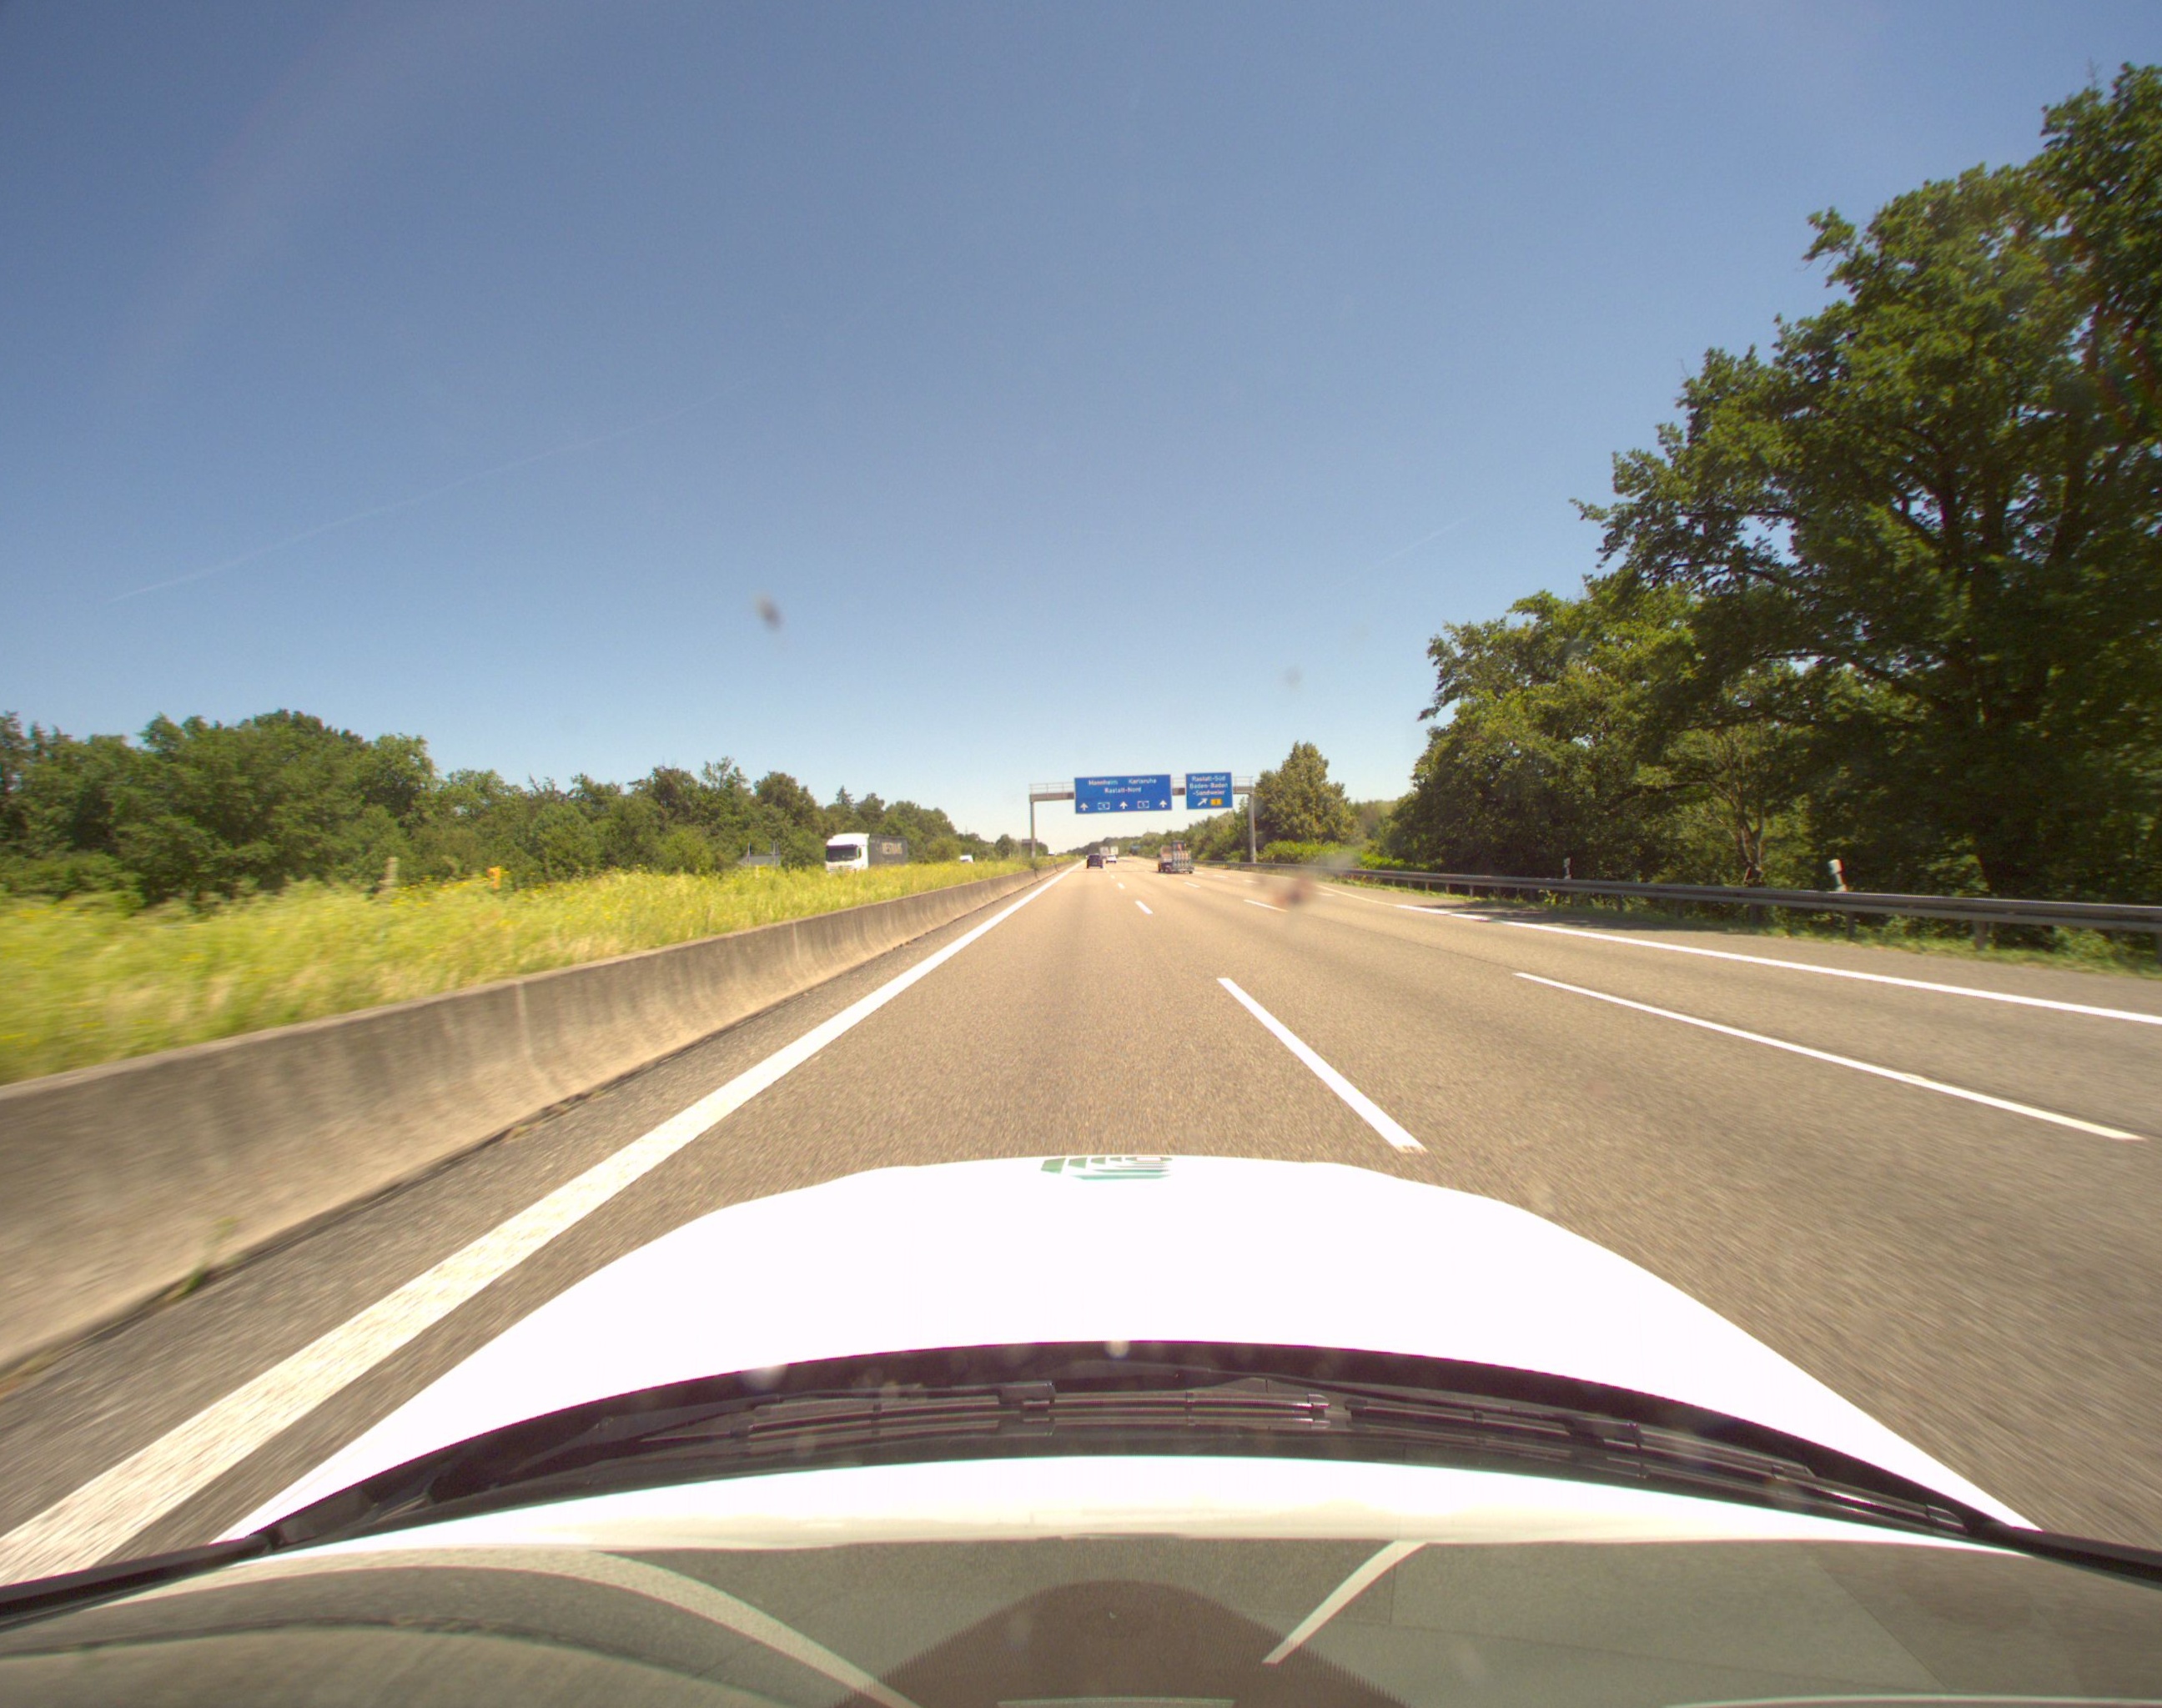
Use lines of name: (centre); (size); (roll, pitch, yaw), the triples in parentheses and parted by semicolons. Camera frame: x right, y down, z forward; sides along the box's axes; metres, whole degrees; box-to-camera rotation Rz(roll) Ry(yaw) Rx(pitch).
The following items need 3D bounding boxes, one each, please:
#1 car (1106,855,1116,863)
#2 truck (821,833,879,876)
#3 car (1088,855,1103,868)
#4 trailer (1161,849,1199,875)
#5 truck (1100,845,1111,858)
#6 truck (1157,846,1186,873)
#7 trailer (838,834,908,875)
car: (5.448, 0.969, 148.294); (1.734, 1.486, 3.999); (-1, -1, 0)
truck: (-17.238, 0.030, 61.198); (2.633, 3.084, 5.848); (0, 0, 1)
car: (1.792, 0.927, 99.559); (1.655, 1.549, 3.781); (-1, 0, -1)
trailer: (8.274, 0.658, 68.730); (2.413, 2.013, 6.031); (-1, 0, -1)
truck: (7.683, -0.824, 258.019); (3.299, 3.994, 8.401); (0, -1, 0)
truck: (8.179, 0.477, 74.087); (1.987, 2.374, 4.643); (-1, 0, -1)
trailer: (-17.151, 0.035, 68.033); (2.592, 3.102, 11.954); (0, 0, 1)
